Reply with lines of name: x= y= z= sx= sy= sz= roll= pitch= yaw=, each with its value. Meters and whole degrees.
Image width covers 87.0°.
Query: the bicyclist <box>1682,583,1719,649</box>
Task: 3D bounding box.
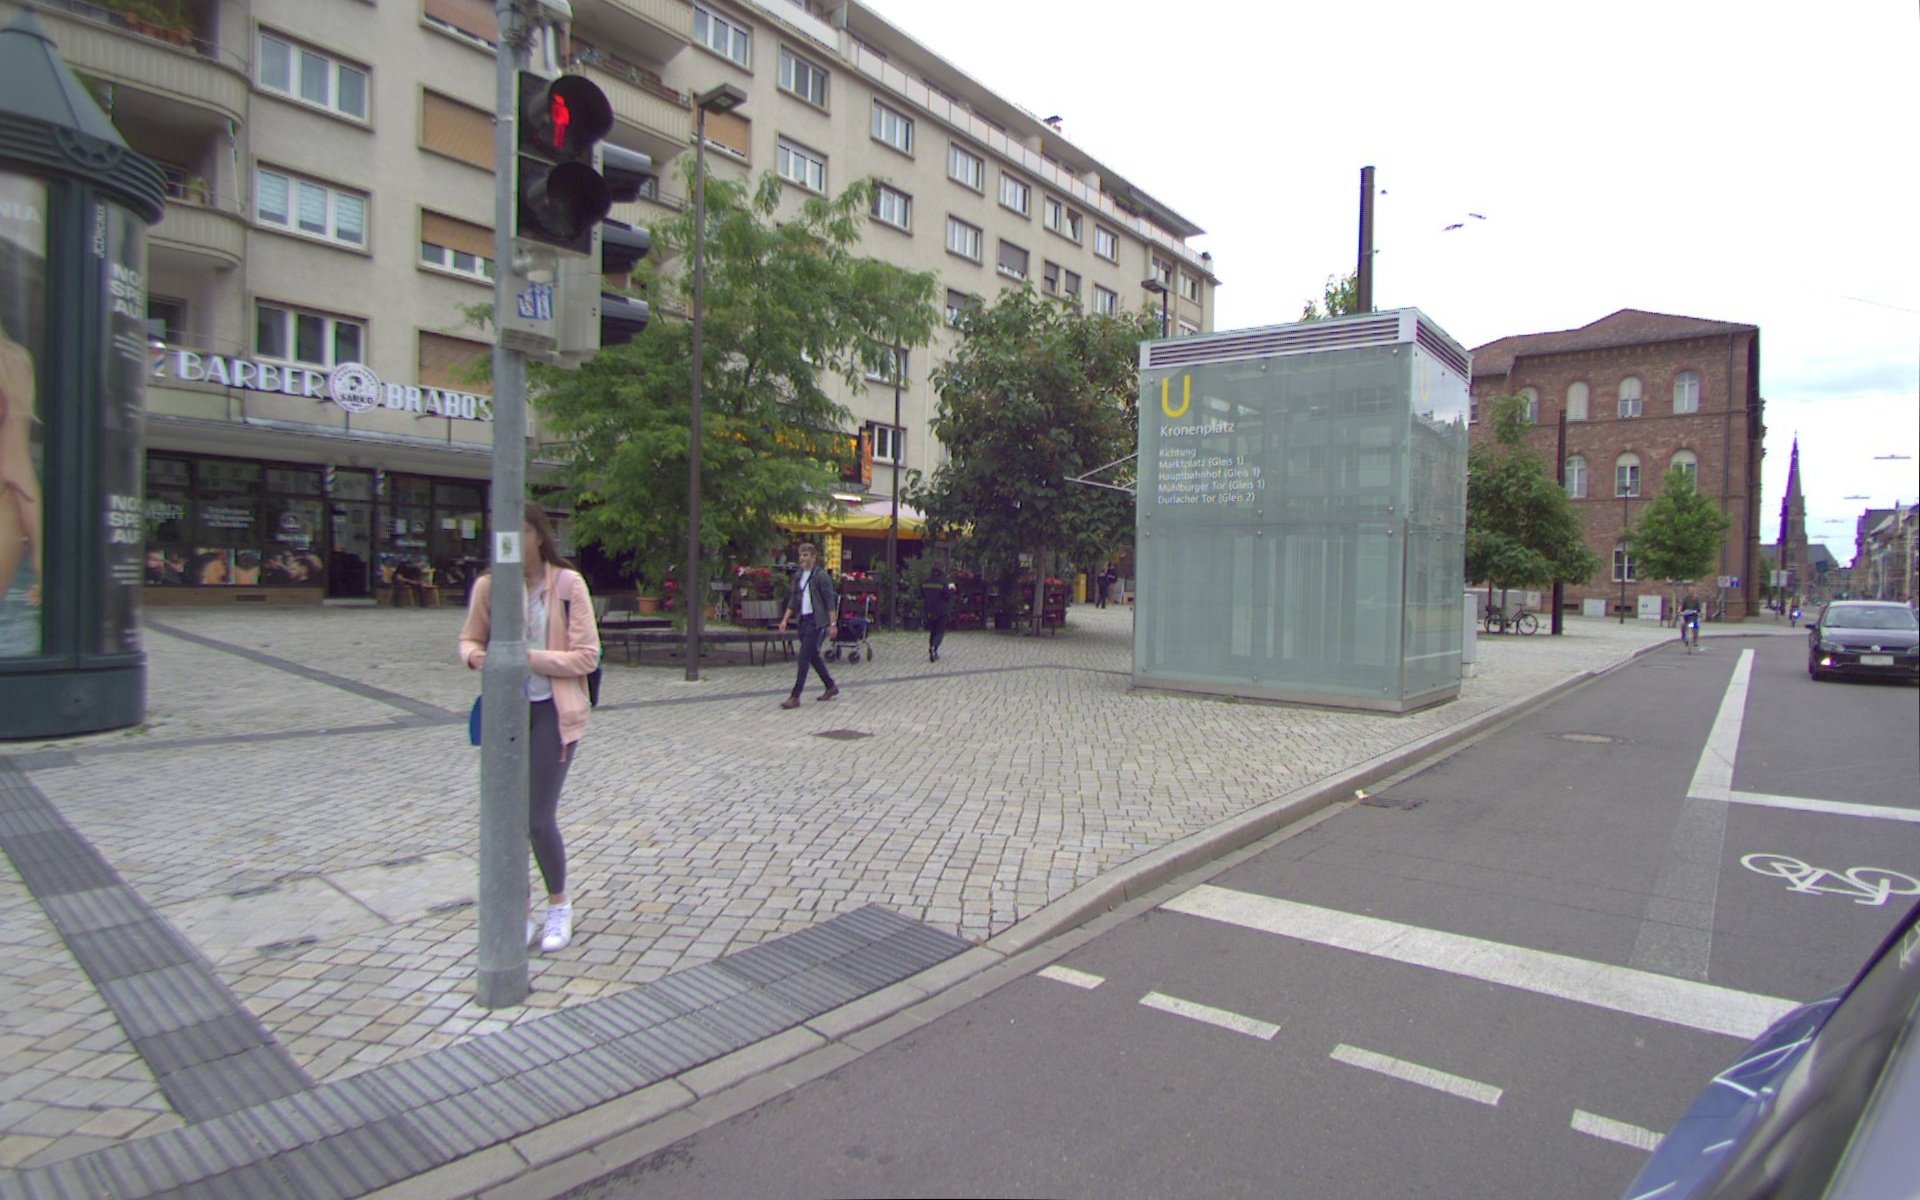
bicyclist: x=19.579 y=0.406 z=26.755 sx=0.779 sy=1.705 sz=0.570 roll=0 pitch=1 yaw=-38

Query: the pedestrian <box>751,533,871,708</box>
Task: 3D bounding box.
pedestrian: x=-1.653 y=0.199 z=11.316 sx=0.712 sy=1.824 sz=1.063 roll=5 pitch=3 yaw=38

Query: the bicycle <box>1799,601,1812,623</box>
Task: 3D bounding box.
bicycle: x=47.167 y=0.669 z=56.447 sx=0.470 sy=1.173 sz=2.241 roll=2 pitch=1 yaw=38

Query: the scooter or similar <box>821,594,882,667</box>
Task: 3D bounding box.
scooter or similar: x=-1.679 y=0.442 z=15.431 sx=0.710 sy=0.960 sz=1.596 roll=2 pitch=2 yaw=-13

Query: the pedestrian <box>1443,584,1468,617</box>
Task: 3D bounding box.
pedestrian: x=23.558 y=0.008 z=48.100 sx=0.767 sy=1.473 sz=0.766 roll=3 pitch=2 yaw=10

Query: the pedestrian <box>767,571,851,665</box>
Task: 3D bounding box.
pedestrian: x=-2.247 y=0.246 z=15.057 sx=1.045 sy=1.313 sz=0.721 roll=4 pitch=3 yaw=45

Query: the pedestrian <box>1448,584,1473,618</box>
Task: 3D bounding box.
pedestrian: x=23.389 y=0.038 z=47.281 sx=0.767 sy=1.473 sz=0.766 roll=3 pitch=2 yaw=10

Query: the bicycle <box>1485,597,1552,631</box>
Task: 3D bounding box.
bicycle: x=19.092 y=0.466 z=34.651 sx=0.633 sy=1.137 sz=1.918 roll=0 pitch=0 yaw=-39

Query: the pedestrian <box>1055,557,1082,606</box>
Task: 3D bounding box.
pedestrian: x=4.288 y=-0.739 z=39.911 sx=0.834 sy=1.909 sz=0.777 roll=0 pitch=0 yaw=-12

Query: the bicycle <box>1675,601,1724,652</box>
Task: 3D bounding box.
bicycle: x=19.553 y=0.684 z=26.751 sx=1.906 sy=1.276 sz=0.524 roll=0 pitch=1 yaw=-38

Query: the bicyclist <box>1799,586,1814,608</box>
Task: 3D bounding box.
bicyclist: x=47.242 y=-0.170 z=56.490 sx=0.584 sy=1.186 sz=0.653 roll=2 pitch=1 yaw=39

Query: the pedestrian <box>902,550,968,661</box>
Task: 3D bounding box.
pedestrian: x=-0.394 y=0.070 z=16.287 sx=0.623 sy=1.705 sz=0.859 roll=3 pitch=2 yaw=35

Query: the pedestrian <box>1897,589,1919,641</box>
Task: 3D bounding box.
pedestrian: x=36.705 y=0.583 z=38.890 sx=0.868 sy=1.925 sz=0.762 roll=3 pitch=1 yaw=38

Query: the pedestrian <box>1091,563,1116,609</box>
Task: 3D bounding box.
pedestrian: x=5.732 y=-0.566 z=40.468 sx=0.703 sy=1.773 sz=0.778 roll=3 pitch=2 yaw=-12

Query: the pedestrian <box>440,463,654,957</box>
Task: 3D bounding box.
pedestrian: x=-1.637 y=0.392 z=4.044 sx=0.520 sy=1.784 sz=0.595 roll=0 pitch=0 yaw=32

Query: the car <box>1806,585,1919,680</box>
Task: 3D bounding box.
car: x=16.697 y=0.536 z=18.462 sx=1.739 sy=1.566 sz=3.601 roll=1 pitch=1 yaw=37
